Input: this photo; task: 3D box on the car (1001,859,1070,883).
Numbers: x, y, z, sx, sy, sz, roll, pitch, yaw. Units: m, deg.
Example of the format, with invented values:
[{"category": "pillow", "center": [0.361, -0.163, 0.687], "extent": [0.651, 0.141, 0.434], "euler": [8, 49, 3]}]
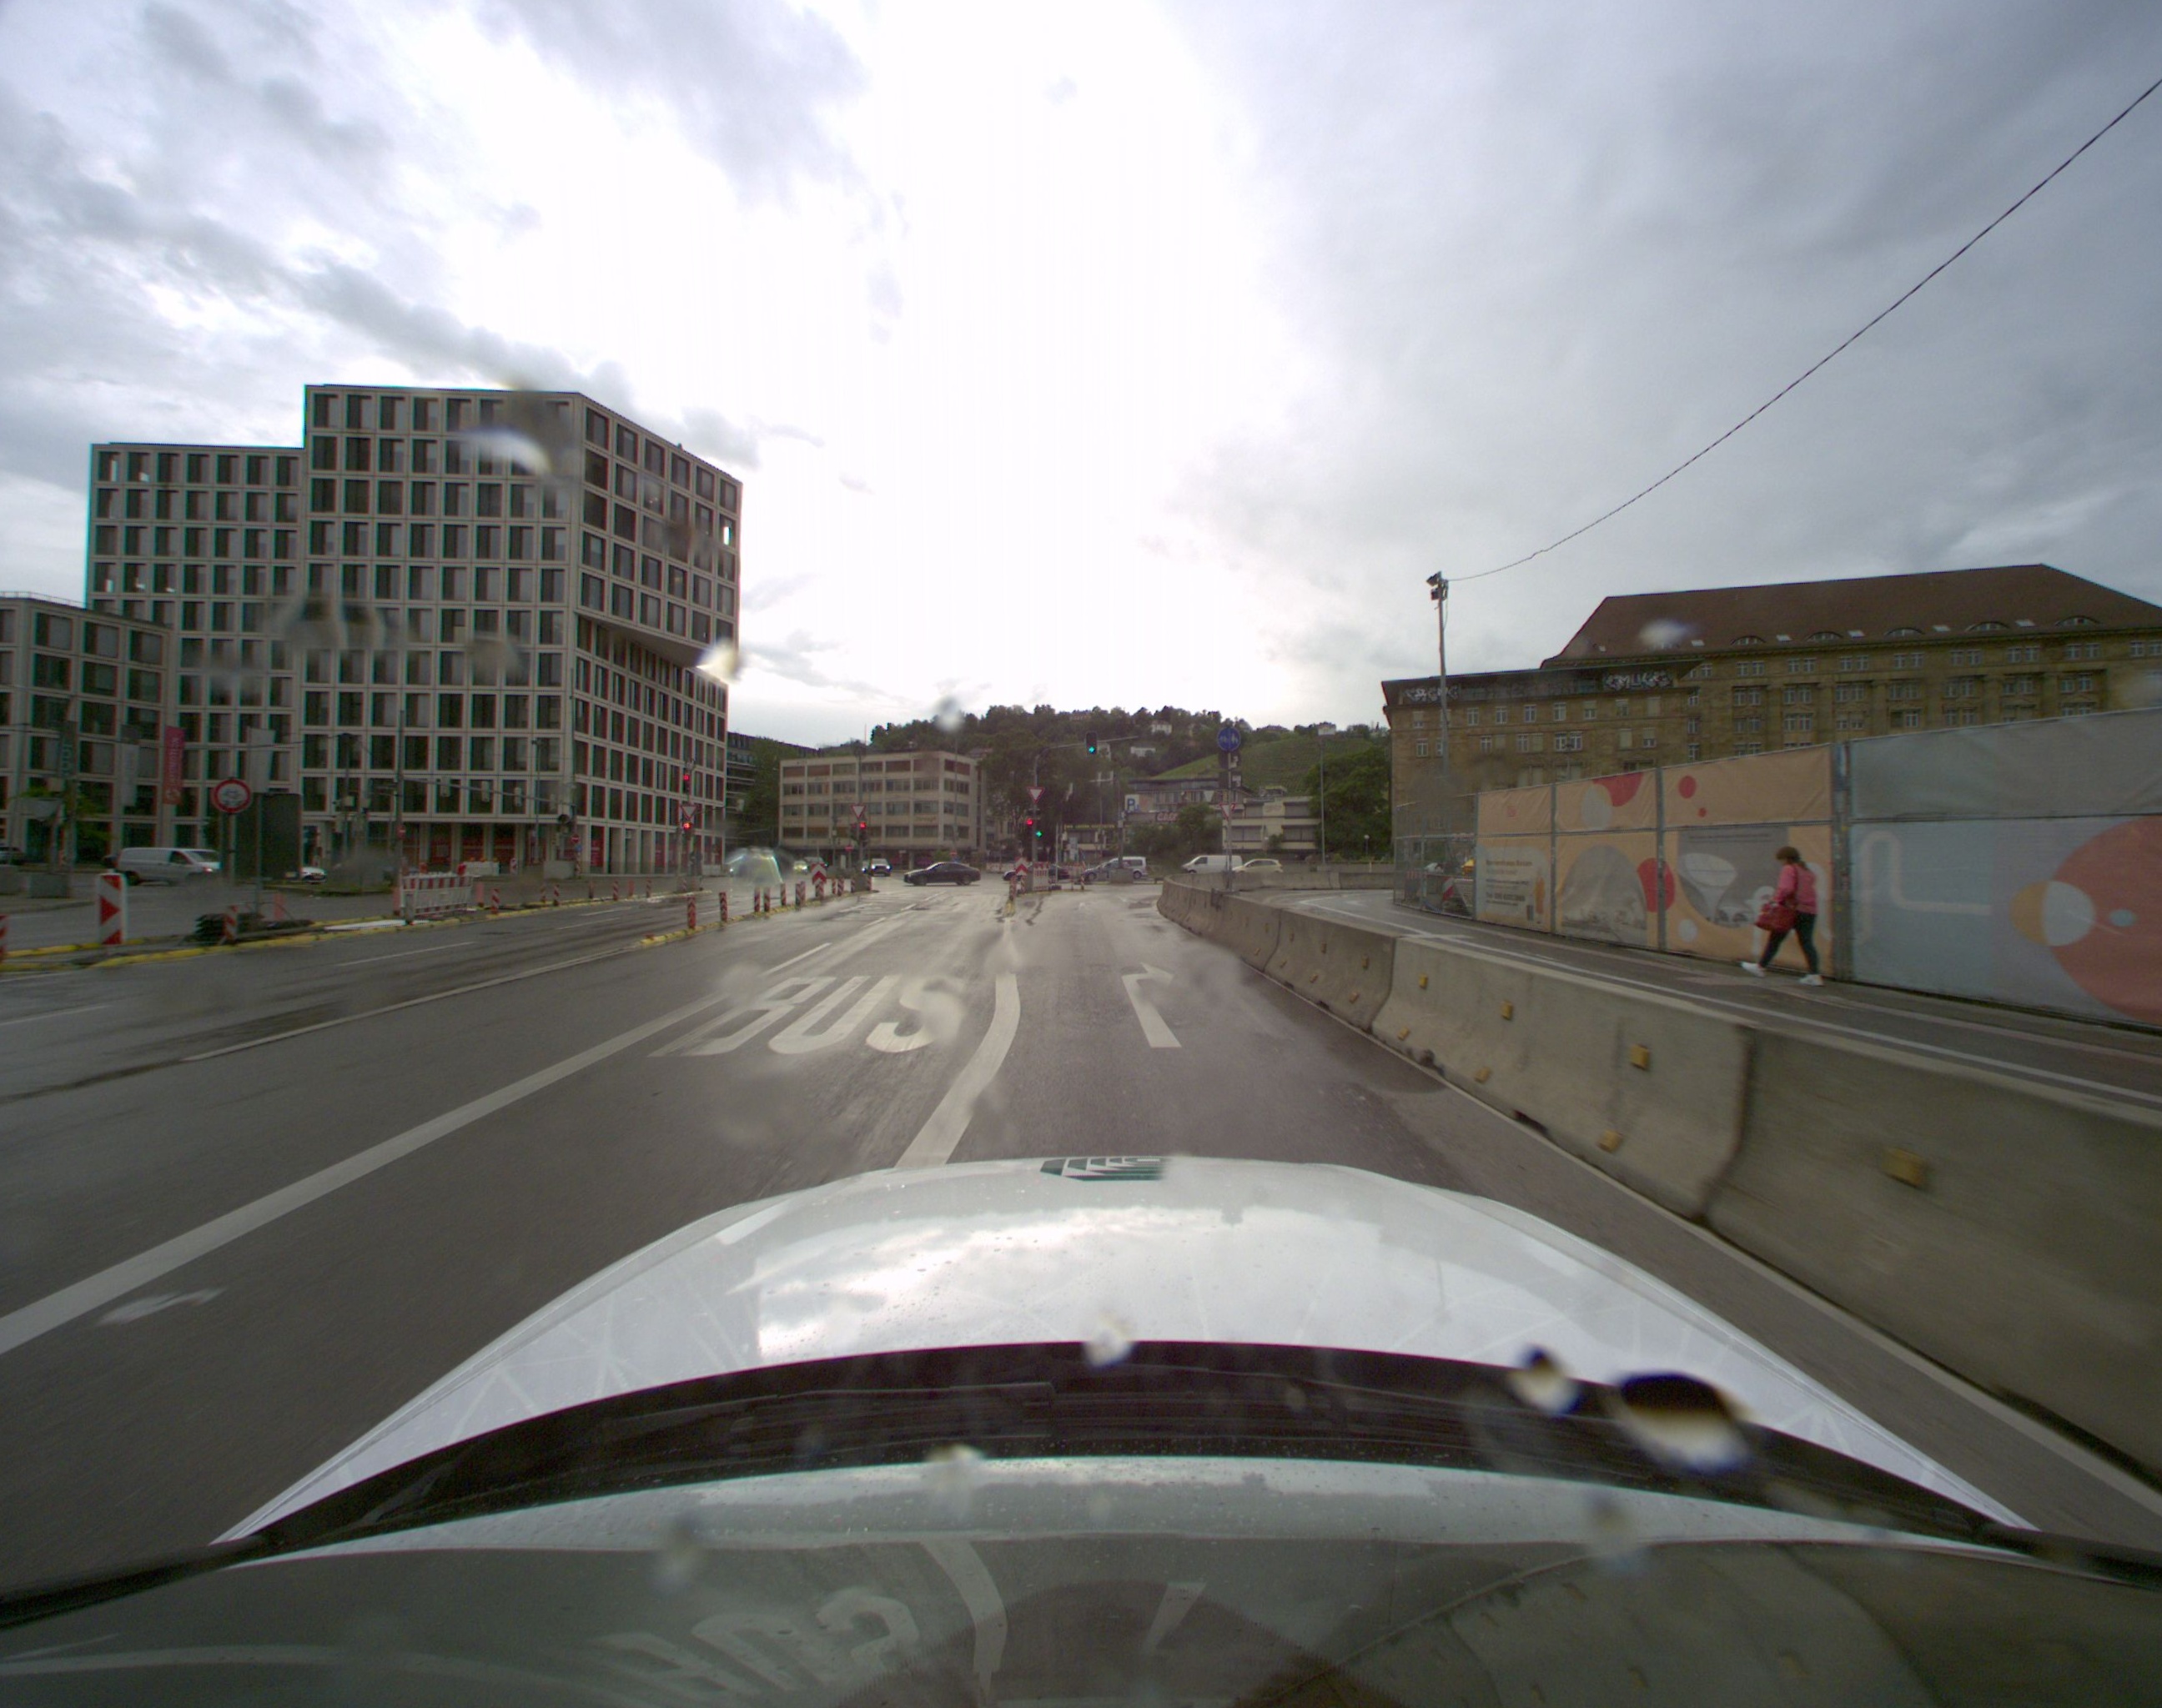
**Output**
[{"category": "car", "center": [-3.123, 1.120, 55.920], "extent": [4.641, 1.598, 2.015], "euler": [0, 0, -5]}]

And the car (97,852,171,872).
[{"category": "car", "center": [-76.044, 0.628, 65.436], "extent": [3.968, 1.523, 1.870], "euler": [0, -1, 5]}]

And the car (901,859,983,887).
[{"category": "car", "center": [-8.514, 1.145, 49.934], "extent": [4.666, 1.598, 2.004], "euler": [0, 0, -22]}]

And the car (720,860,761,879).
[{"category": "car", "center": [-32.732, 1.486, 78.337], "extent": [2.218, 1.753, 4.805], "euler": [0, -1, -4]}]

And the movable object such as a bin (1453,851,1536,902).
[{"category": "movable object such as a bin", "center": [12.638, 0.697, 24.953], "extent": [1.881, 1.471, 1.188], "euler": [-2, -1, 2]}]

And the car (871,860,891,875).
[{"category": "car", "center": [-20.095, 1.327, 81.892], "extent": [1.832, 1.486, 3.983], "euler": [0, 0, -12]}]

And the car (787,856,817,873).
[{"category": "car", "center": [-30.781, 1.118, 90.005], "extent": [1.793, 1.816, 4.002], "euler": [0, 0, 2]}]

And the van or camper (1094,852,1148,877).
[{"category": "van or camper", "center": [3.295, 0.842, 67.308], "extent": [4.236, 1.979, 1.848], "euler": [0, 0, -6]}]

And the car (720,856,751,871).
[{"category": "car", "center": [-43.347, 1.154, 102.113], "extent": [3.948, 1.816, 1.817], "euler": [0, 0, 36]}]

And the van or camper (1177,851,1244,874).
[{"category": "van or camper", "center": [10.713, 0.714, 67.639], "extent": [5.188, 1.894, 1.884], "euler": [0, 0, -6]}]

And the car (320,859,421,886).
[{"category": "car", "center": [-43.813, 1.120, 50.283], "extent": [4.626, 1.598, 2.021], "euler": [0, 0, 5]}]

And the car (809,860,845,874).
[{"category": "car", "center": [-30.726, 1.573, 98.469], "extent": [3.950, 1.557, 1.901], "euler": [-1, -1, 25]}]

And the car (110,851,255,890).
[{"category": "car", "center": [-44.658, 0.789, 40.558], "extent": [5.048, 1.904, 2.089], "euler": [0, 0, 2]}]

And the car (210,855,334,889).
[{"category": "car", "center": [-43.587, 0.950, 43.937], "extent": [4.633, 1.738, 2.018], "euler": [0, 0, 0]}]

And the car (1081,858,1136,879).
[{"category": "car", "center": [2.145, 1.125, 64.123], "extent": [4.161, 1.598, 1.848], "euler": [0, 0, -6]}]

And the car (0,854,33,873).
[{"category": "car", "center": [-87.471, 0.743, 65.554], "extent": [3.970, 1.523, 1.869], "euler": [0, -1, 3]}]

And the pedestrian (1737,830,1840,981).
[{"category": "pedestrian", "center": [9.041, 0.636, 10.432], "extent": [0.718, 1.866, 0.708], "euler": [0, 0, -5]}]

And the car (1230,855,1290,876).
[{"category": "car", "center": [14.173, 0.911, 64.684], "extent": [4.352, 1.673, 1.847], "euler": [0, 0, -1]}]
